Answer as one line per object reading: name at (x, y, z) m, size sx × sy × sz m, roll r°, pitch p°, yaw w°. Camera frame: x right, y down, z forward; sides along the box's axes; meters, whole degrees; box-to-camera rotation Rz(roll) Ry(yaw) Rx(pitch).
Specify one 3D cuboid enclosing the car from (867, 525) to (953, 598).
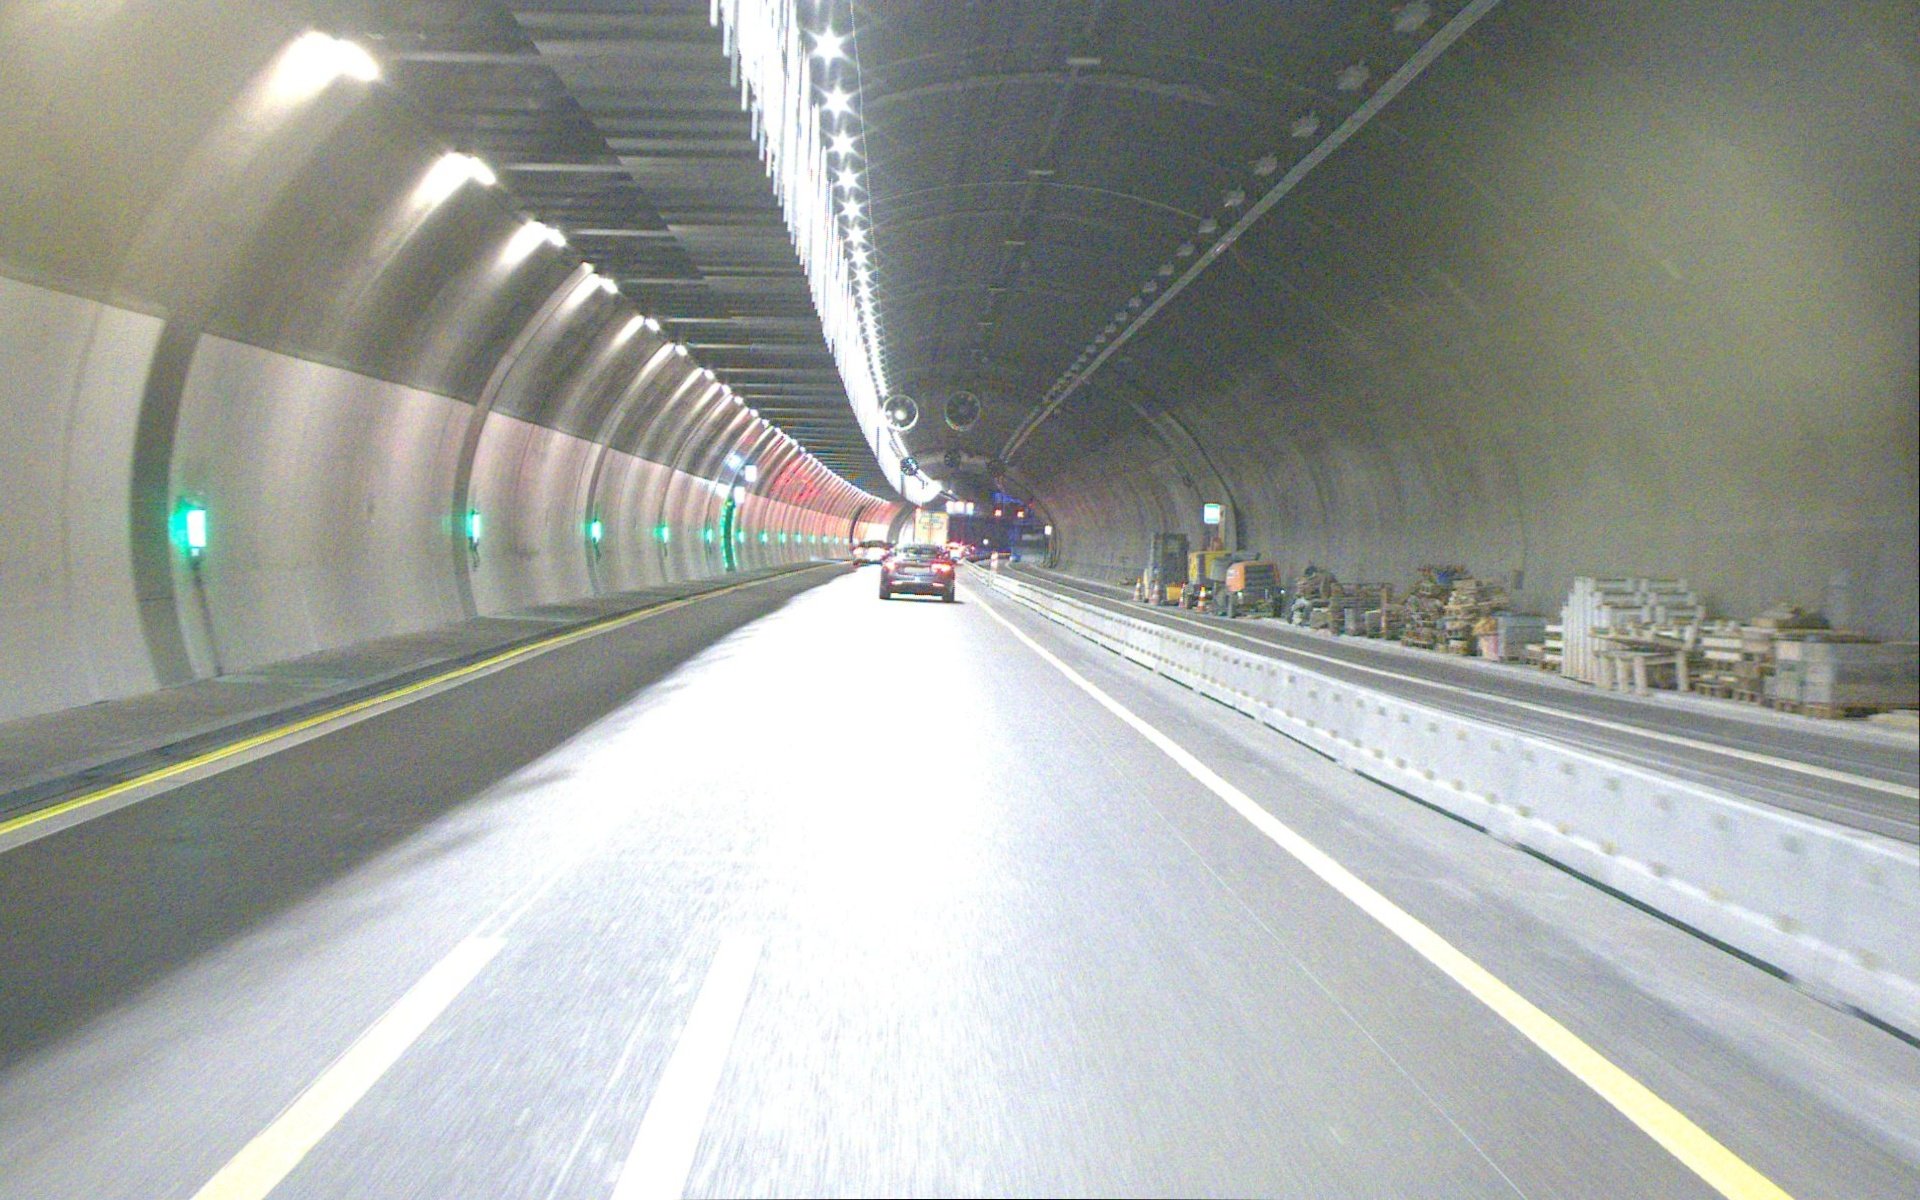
car at (-1.276, -0.991, 86.477) m, size 1.946 × 1.788 × 4.001 m, roll 0°, pitch 1°, yaw -4°

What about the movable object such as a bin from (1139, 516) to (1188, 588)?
movable object such as a bin at (6.157, -1.451, 104.098) m, size 1.234 × 2.133 × 2.217 m, roll 2°, pitch 1°, yaw -1°

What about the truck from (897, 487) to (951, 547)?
truck at (-2.782, -6.376, 264.814) m, size 4.066 × 4.517 × 14.966 m, roll 0°, pitch 1°, yaw -1°

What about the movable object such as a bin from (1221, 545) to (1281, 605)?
movable object such as a bin at (7.268, -0.642, 85.998) m, size 1.234 × 1.437 × 2.217 m, roll 2°, pitch 1°, yaw -1°

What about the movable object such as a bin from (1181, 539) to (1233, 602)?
movable object such as a bin at (6.983, -0.853, 97.315) m, size 1.234 × 1.713 × 2.217 m, roll 2°, pitch 1°, yaw -1°

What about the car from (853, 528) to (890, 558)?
car at (-5.044, -3.273, 196.384) m, size 1.930 × 1.681 × 4.000 m, roll 0°, pitch 1°, yaw 1°
